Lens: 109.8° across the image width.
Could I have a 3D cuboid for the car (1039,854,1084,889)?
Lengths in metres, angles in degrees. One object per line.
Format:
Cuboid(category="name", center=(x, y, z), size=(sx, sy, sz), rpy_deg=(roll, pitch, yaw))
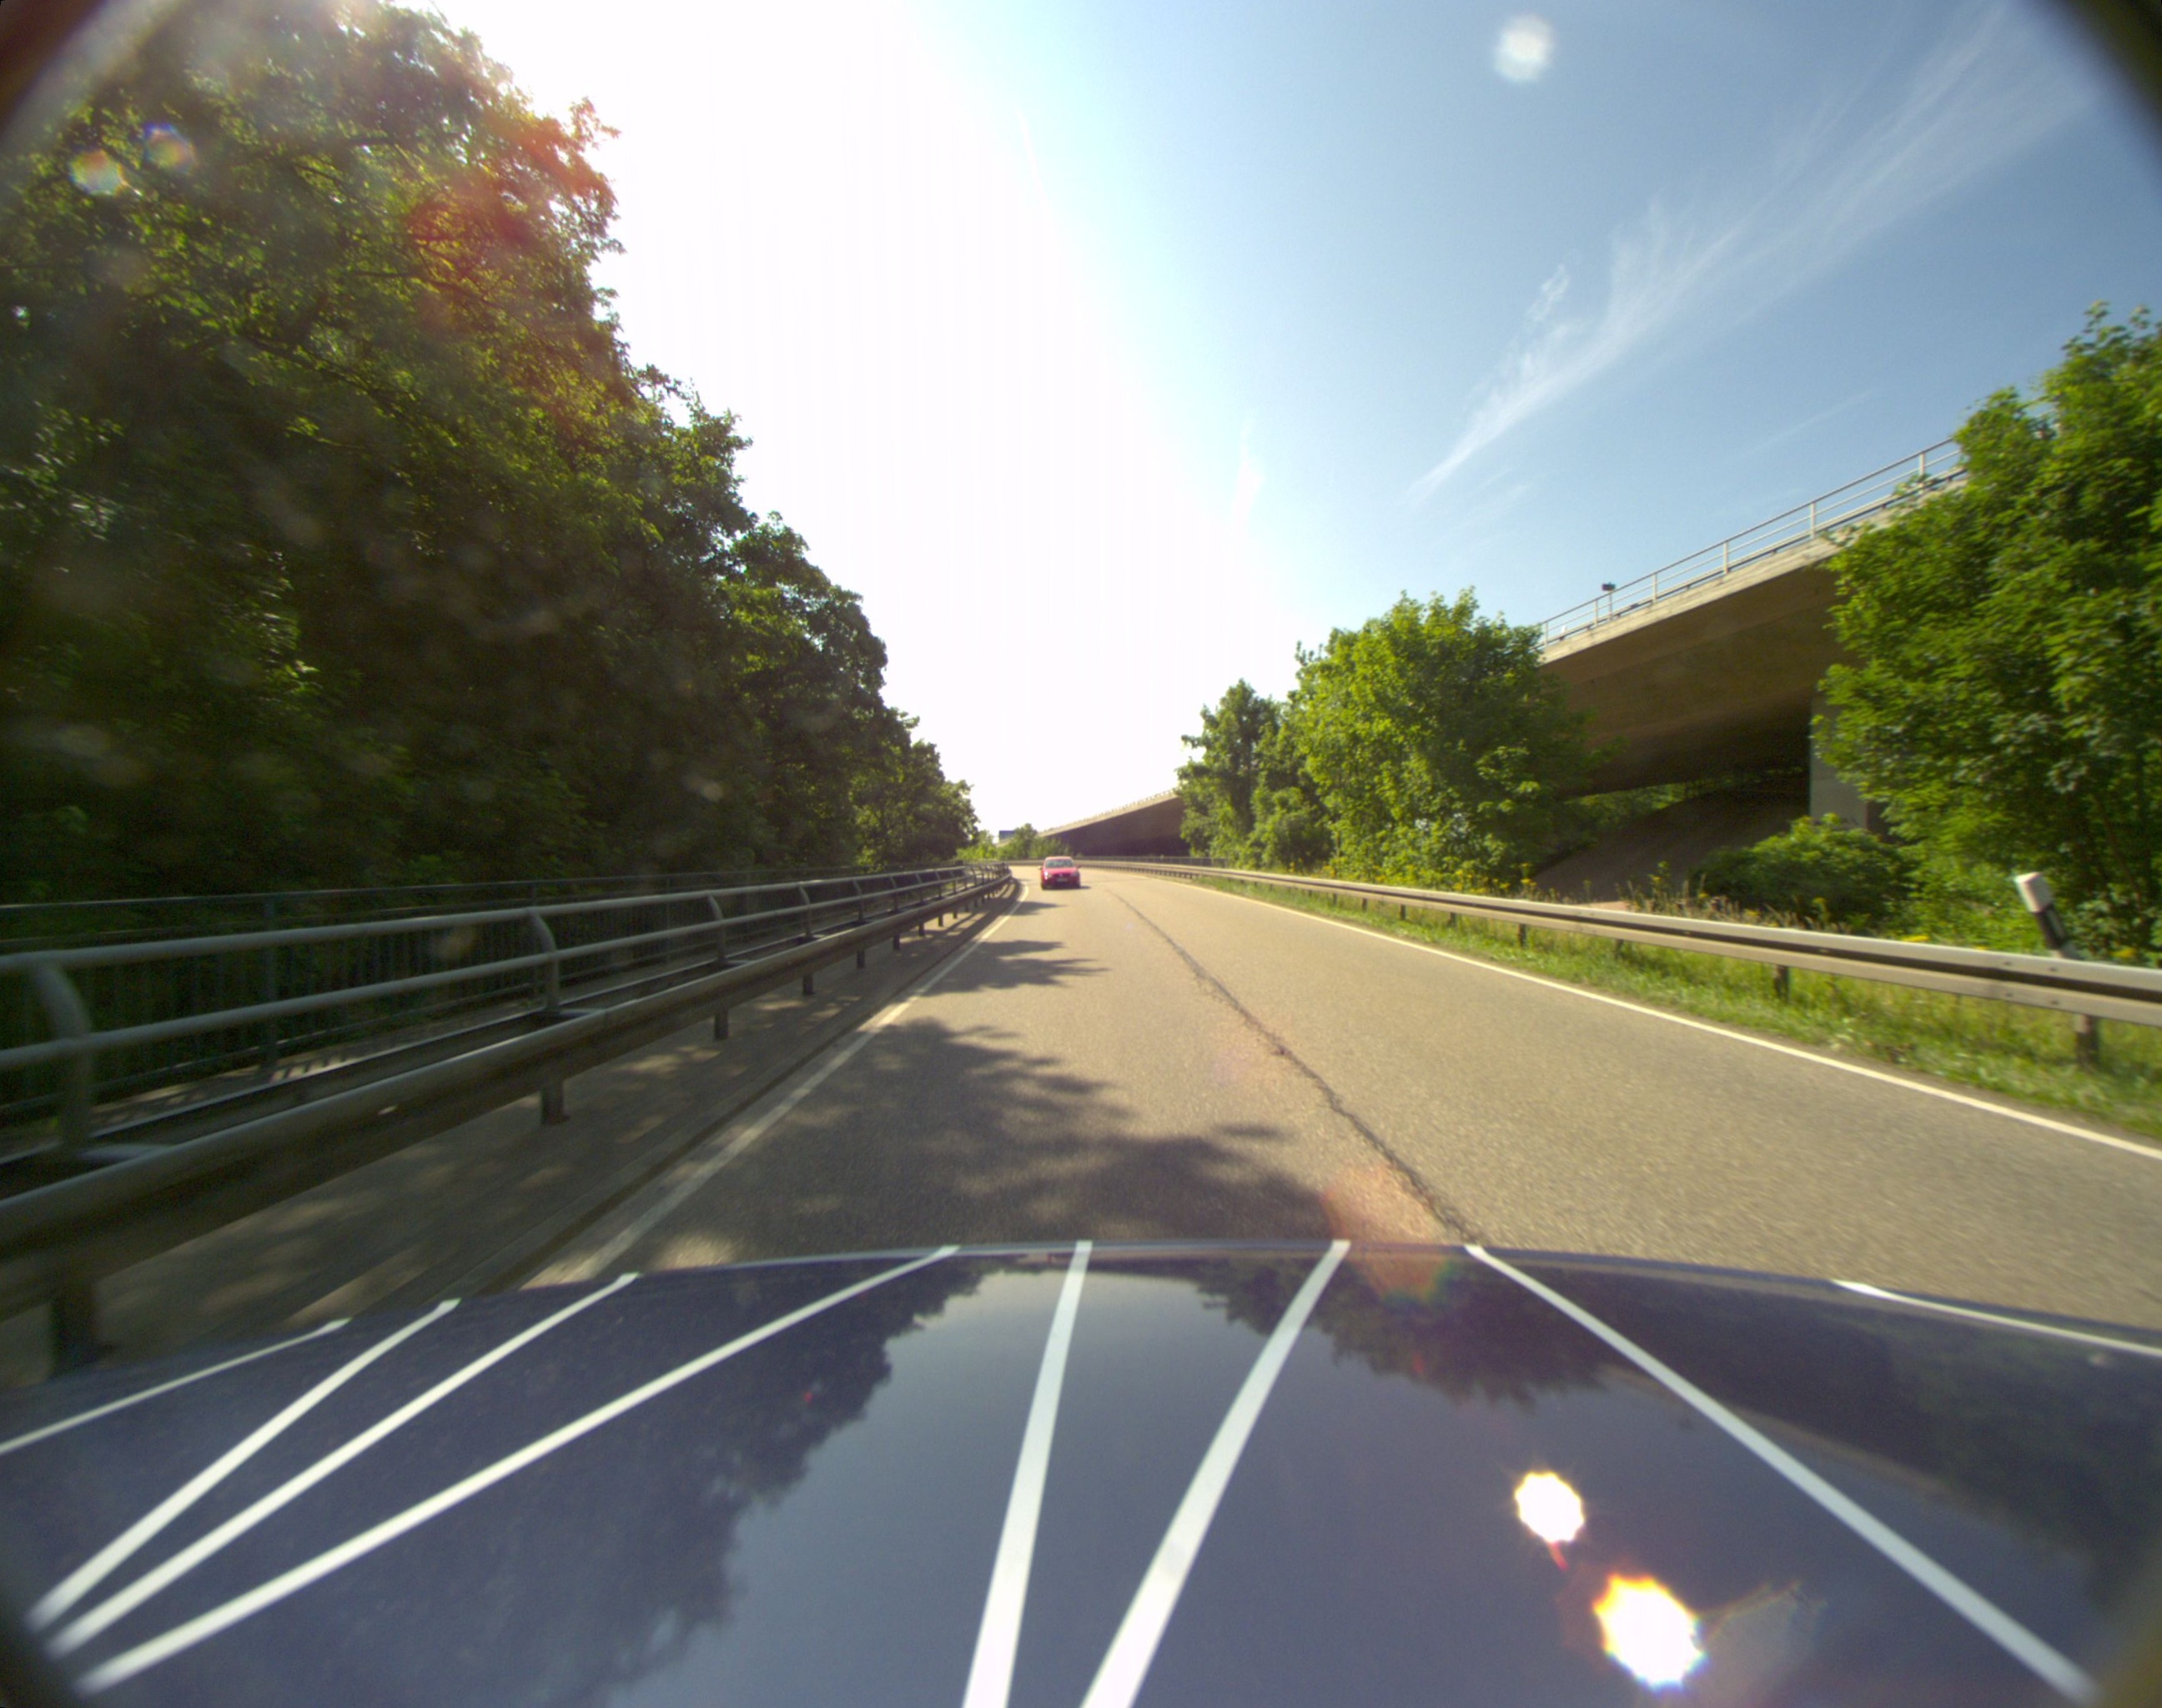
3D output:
Cuboid(category="car", center=(-1.003, 0.820, 35.987), size=(1.817, 1.488, 4.284), rpy_deg=(-2, 0, -5))
